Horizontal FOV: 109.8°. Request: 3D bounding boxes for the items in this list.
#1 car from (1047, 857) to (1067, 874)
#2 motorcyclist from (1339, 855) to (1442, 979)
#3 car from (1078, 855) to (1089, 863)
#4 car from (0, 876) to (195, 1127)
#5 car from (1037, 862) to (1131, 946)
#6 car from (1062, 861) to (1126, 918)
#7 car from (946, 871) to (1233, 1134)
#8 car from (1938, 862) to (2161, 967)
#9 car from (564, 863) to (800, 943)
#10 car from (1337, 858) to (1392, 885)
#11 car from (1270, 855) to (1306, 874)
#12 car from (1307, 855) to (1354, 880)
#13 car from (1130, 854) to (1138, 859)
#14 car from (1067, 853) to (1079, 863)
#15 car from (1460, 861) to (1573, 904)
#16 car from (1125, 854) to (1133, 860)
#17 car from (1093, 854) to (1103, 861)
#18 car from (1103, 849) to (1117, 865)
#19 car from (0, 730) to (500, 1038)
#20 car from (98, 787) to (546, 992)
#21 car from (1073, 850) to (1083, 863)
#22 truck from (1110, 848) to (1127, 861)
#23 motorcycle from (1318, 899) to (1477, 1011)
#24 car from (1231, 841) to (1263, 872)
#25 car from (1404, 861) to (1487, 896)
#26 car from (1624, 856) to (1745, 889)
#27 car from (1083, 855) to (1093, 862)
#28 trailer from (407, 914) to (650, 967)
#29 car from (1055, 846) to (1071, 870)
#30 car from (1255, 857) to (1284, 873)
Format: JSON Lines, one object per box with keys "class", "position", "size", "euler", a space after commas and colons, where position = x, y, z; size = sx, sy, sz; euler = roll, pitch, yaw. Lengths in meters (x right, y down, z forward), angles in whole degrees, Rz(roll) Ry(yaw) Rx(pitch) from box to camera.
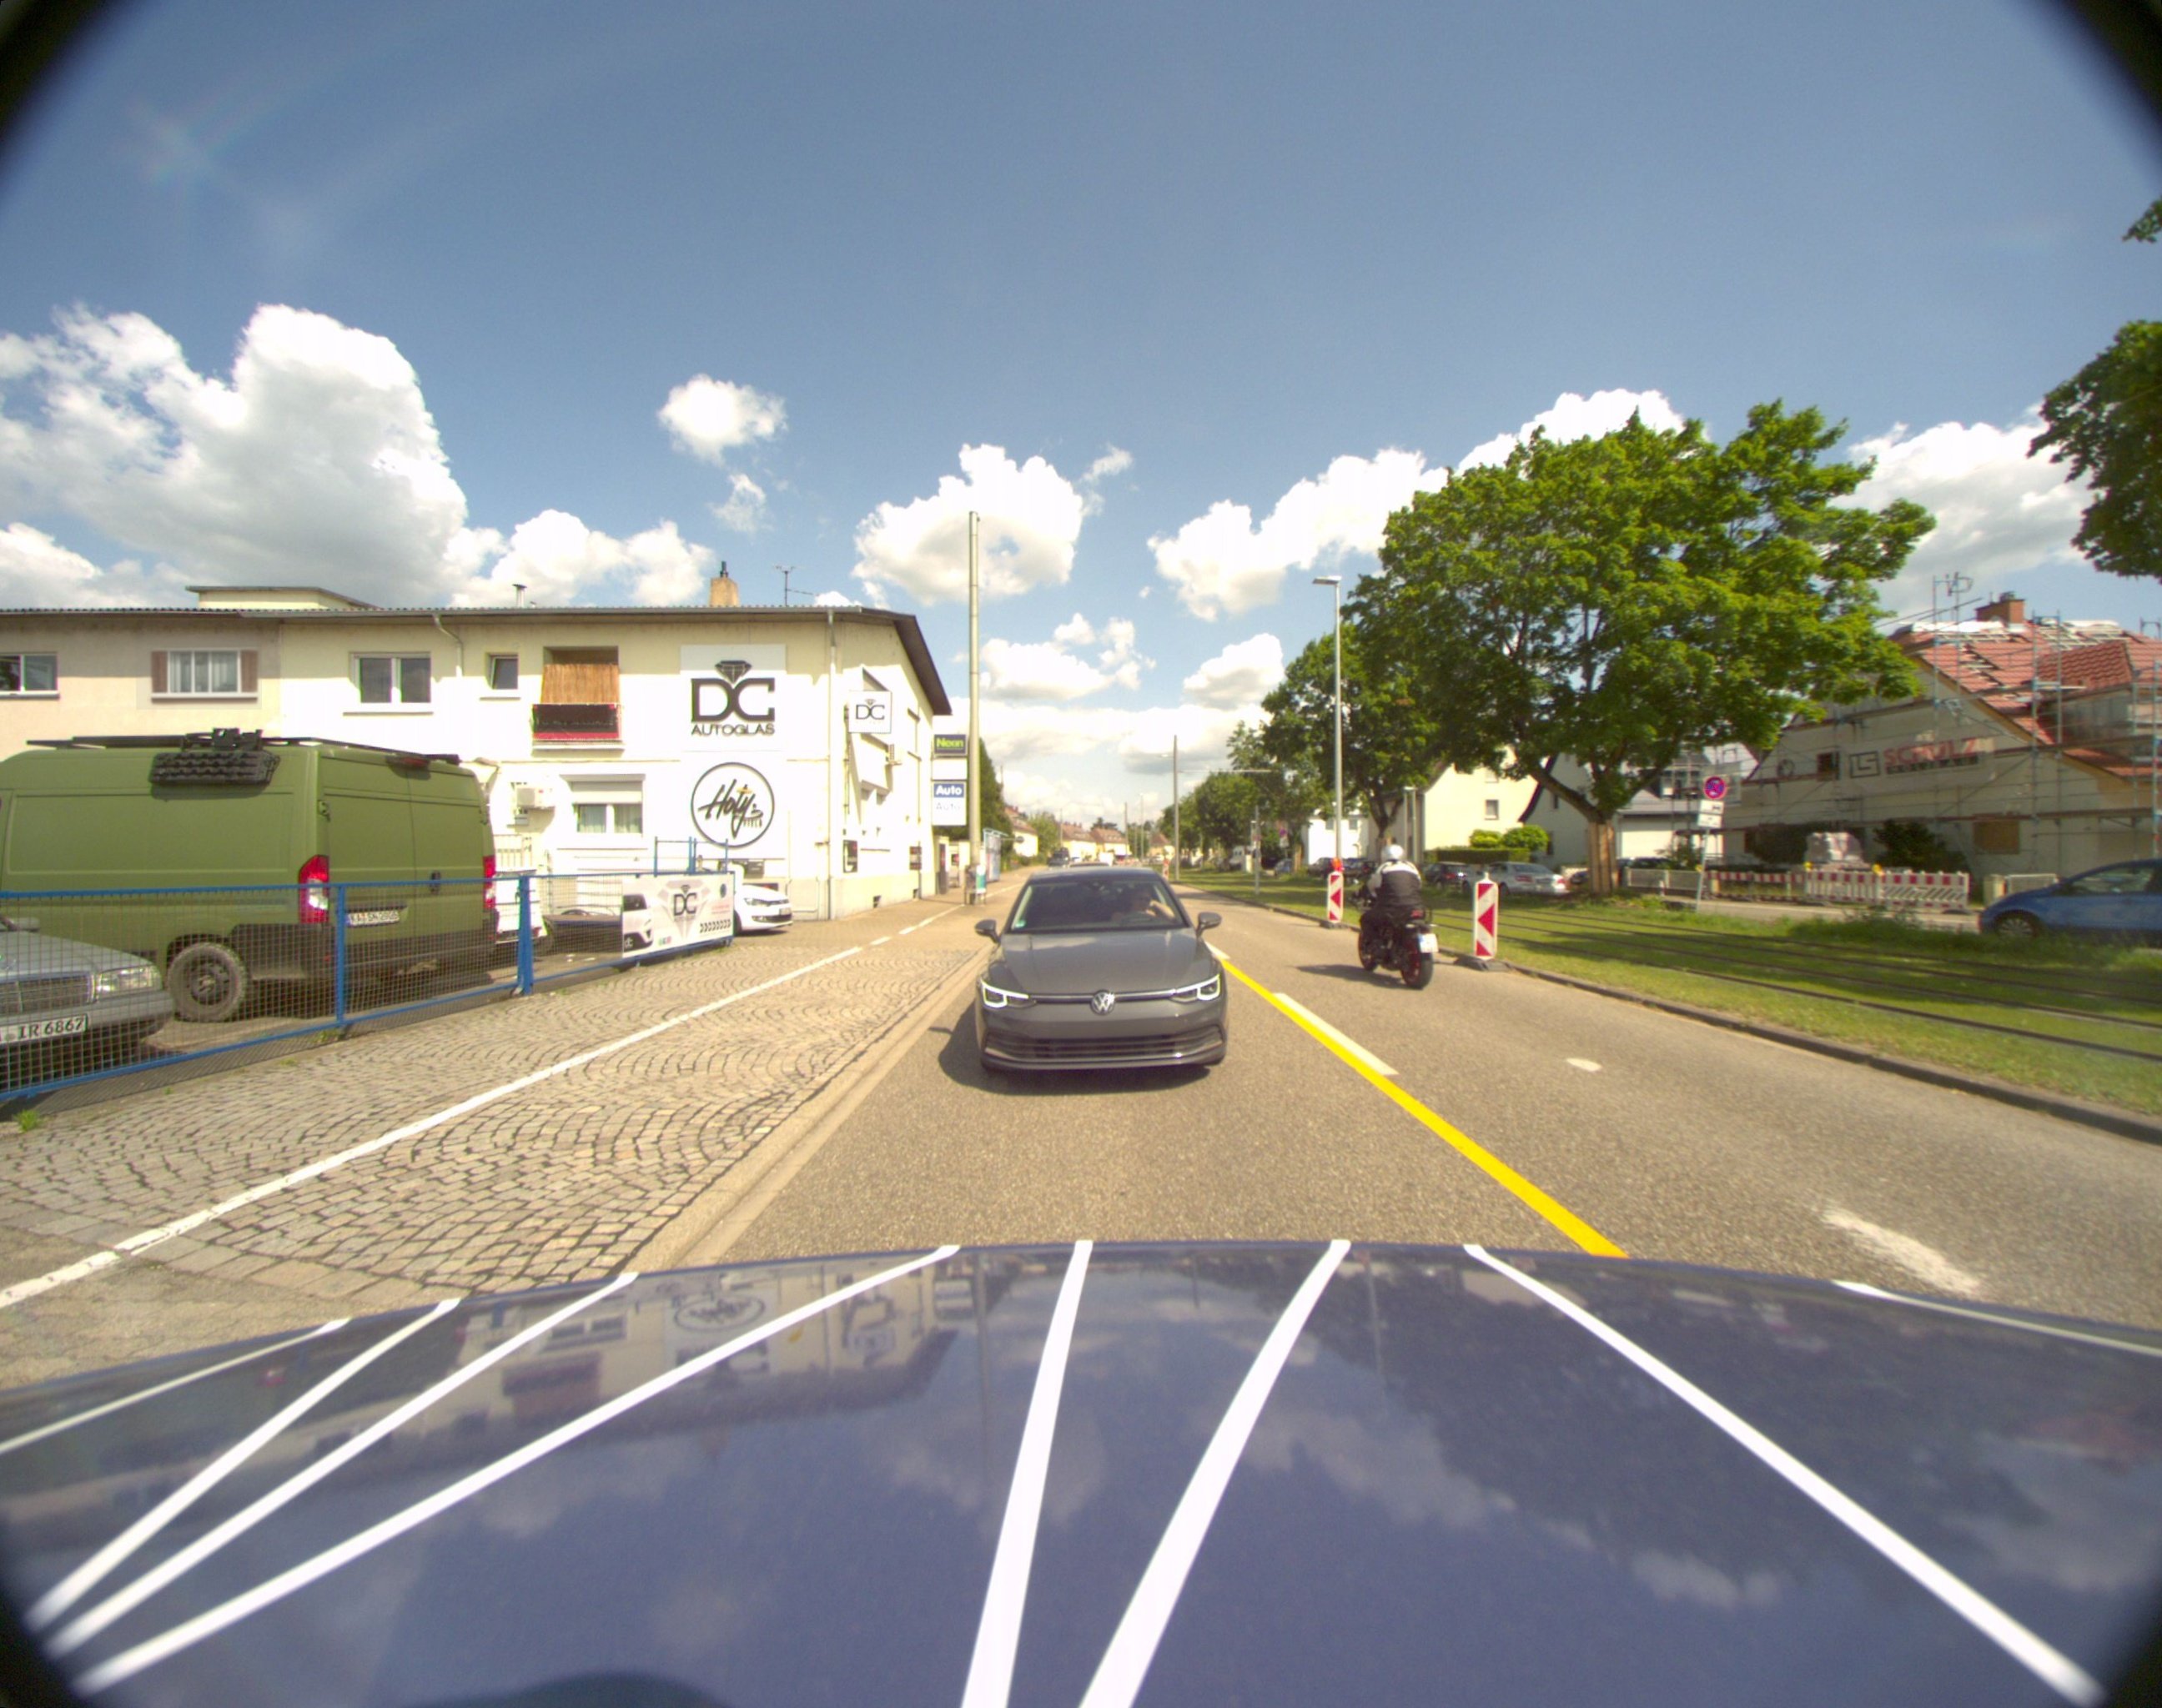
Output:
{"class": "car", "position": [-2.188, 1.042, 70.751], "size": [1.702, 1.574, 4.000], "euler": [0, 0, 1]}
{"class": "motorcyclist", "position": [3.584, 0.703, 8.865], "size": [0.870, 1.370, 0.800], "euler": [0, 0, -2]}
{"class": "car", "position": [0.482, 0.895, 146.704], "size": [1.701, 1.574, 4.002], "euler": [0, 0, 6]}
{"class": "car", "position": [-8.460, 0.885, 4.771], "size": [4.282, 1.444, 1.713], "euler": [0, 0, 8]}
{"class": "car", "position": [0.078, 0.937, 15.808], "size": [1.702, 1.477, 4.000], "euler": [0, 0, 1]}
{"class": "car", "position": [0.362, 0.966, 22.273], "size": [1.702, 1.477, 4.000], "euler": [0, 0, 1]}
{"class": "car", "position": [0.079, 0.933, 6.523], "size": [1.702, 1.477, 4.000], "euler": [0, 0, 1]}
{"class": "car", "position": [16.191, 0.863, 11.396], "size": [1.702, 1.477, 4.407], "euler": [-1, -1, 1]}
{"class": "car", "position": [-7.663, 0.912, 14.814], "size": [3.775, 1.454, 1.555], "euler": [0, 0, 2]}
{"class": "car", "position": [16.768, 1.030, 45.152], "size": [1.702, 1.477, 4.407], "euler": [-1, -1, 1]}
{"class": "car", "position": [16.642, 0.870, 61.279], "size": [1.702, 1.477, 4.407], "euler": [-1, -1, 1]}
{"class": "car", "position": [16.552, 0.894, 50.658], "size": [1.702, 1.562, 4.407], "euler": [-1, -1, 1]}
{"class": "car", "position": [15.873, 0.790, 226.375], "size": [1.700, 1.574, 4.005], "euler": [0, 0, 16]}
{"class": "car", "position": [-1.290, 0.666, 123.036], "size": [1.701, 1.574, 4.001], "euler": [0, 0, 3]}
{"class": "car", "position": [16.418, 1.062, 28.943], "size": [1.788, 1.477, 4.523], "euler": [-1, -1, 2]}
{"class": "car", "position": [13.819, 0.935, 218.679], "size": [1.700, 1.574, 4.005], "euler": [0, 0, 16]}
{"class": "car", "position": [3.844, 0.904, 173.594], "size": [1.700, 1.574, 4.004], "euler": [0, 0, 12]}
{"class": "car", "position": [4.532, 0.434, 119.414], "size": [2.090, 2.449, 5.842], "euler": [2, 0, 2]}
{"class": "car", "position": [-8.727, 0.268, 7.606], "size": [4.207, 2.627, 2.113], "euler": [0, 0, 2]}
{"class": "car", "position": [-9.502, 0.420, 9.726], "size": [4.207, 2.392, 1.586], "euler": [0, 0, 2]}
{"class": "car", "position": [-0.491, 0.413, 136.400], "size": [1.701, 2.233, 4.947], "euler": [0, 0, 2]}
{"class": "truck", "position": [9.909, 0.134, 201.048], "size": [2.710, 3.119, 8.124], "euler": [0, 0, 15]}
{"class": "motorcycle", "position": [3.588, 1.096, 8.896], "size": [0.870, 1.015, 2.244], "euler": [0, 0, -2]}
{"class": "car", "position": [16.815, 0.268, 77.269], "size": [2.136, 3.019, 5.084], "euler": [-1, -1, 1]}
{"class": "car", "position": [16.623, 1.115, 34.905], "size": [1.702, 1.477, 4.407], "euler": [-1, -1, 1]}
{"class": "car", "position": [28.904, 0.885, 36.508], "size": [4.402, 1.477, 1.704], "euler": [-1, -1, 1]}
{"class": "car", "position": [1.440, 0.898, 155.834], "size": [1.701, 1.574, 4.002], "euler": [0, 0, 7]}
{"class": "trailer", "position": [-8.369, 1.303, 11.657], "size": [2.733, 0.662, 1.329], "euler": [0, 0, -1]}
{"class": "car", "position": [-1.915, 0.444, 82.436], "size": [1.702, 2.510, 5.144], "euler": [0, 0, 0]}
{"class": "car", "position": [17.644, 1.072, 71.324], "size": [1.702, 1.477, 4.407], "euler": [-1, -1, 1]}
